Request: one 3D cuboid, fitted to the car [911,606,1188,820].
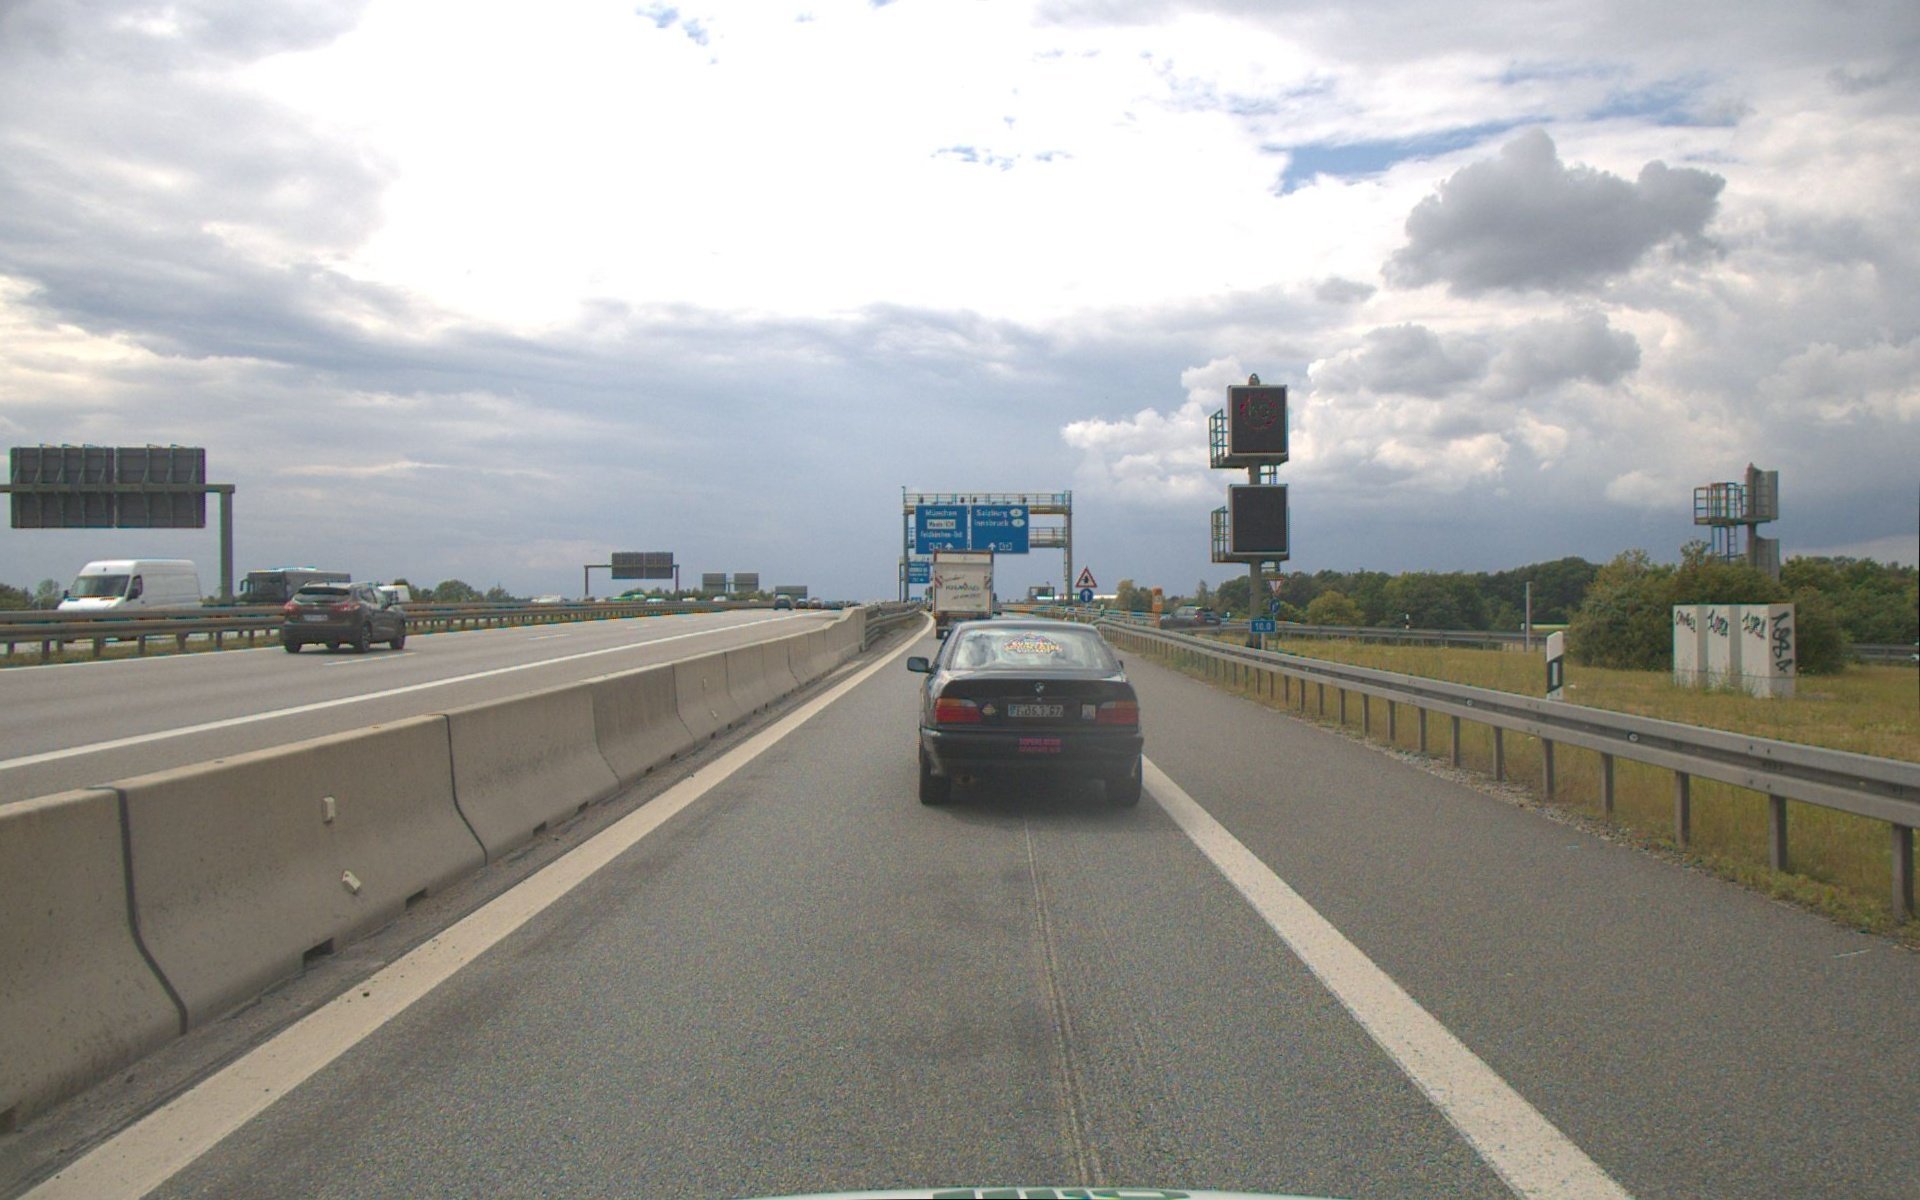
[{"bbox_3d":[0.551,0.779,13.285,1.747,1.402,4.134,1,0,-3],"label":"car"}]

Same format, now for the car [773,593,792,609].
[{"bbox_3d":[-19.797,0.128,184.545,1.954,1.691,4.381,1,0,-3],"label":"car"}]

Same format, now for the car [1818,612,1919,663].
[{"bbox_3d":[32.252,1.306,57.559,4.120,1.714,1.937,1,-1,32],"label":"car"}]

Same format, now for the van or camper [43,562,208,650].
[{"bbox_3d":[-27.054,0.172,53.975,2.143,2.665,6.901,1,0,-3],"label":"van or camper"}]

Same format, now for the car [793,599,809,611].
[{"bbox_3d":[-21.969,0.643,228.575,1.954,1.568,3.997,1,0,-3],"label":"car"}]

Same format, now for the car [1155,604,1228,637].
[{"bbox_3d":[11.625,1.005,83.199,1.965,1.579,3.975,1,0,-21],"label":"car"}]

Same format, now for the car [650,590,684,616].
[{"bbox_3d":[-20.820,0.204,117.540,1.633,1.736,4.000,1,0,0],"label":"car"}]

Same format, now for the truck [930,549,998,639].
[{"bbox_3d":[0.097,-0.218,61.581,2.355,3.144,6.369,1,0,-1],"label":"truck"}]

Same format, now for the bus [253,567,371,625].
[{"bbox_3d":[-42.056,-0.262,107.924,3.150,3.503,12.984,1,0,-3],"label":"bus"}]

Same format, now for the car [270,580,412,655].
[{"bbox_3d":[-14.292,0.383,38.440,1.855,1.625,4.414,1,0,-4],"label":"car"}]
